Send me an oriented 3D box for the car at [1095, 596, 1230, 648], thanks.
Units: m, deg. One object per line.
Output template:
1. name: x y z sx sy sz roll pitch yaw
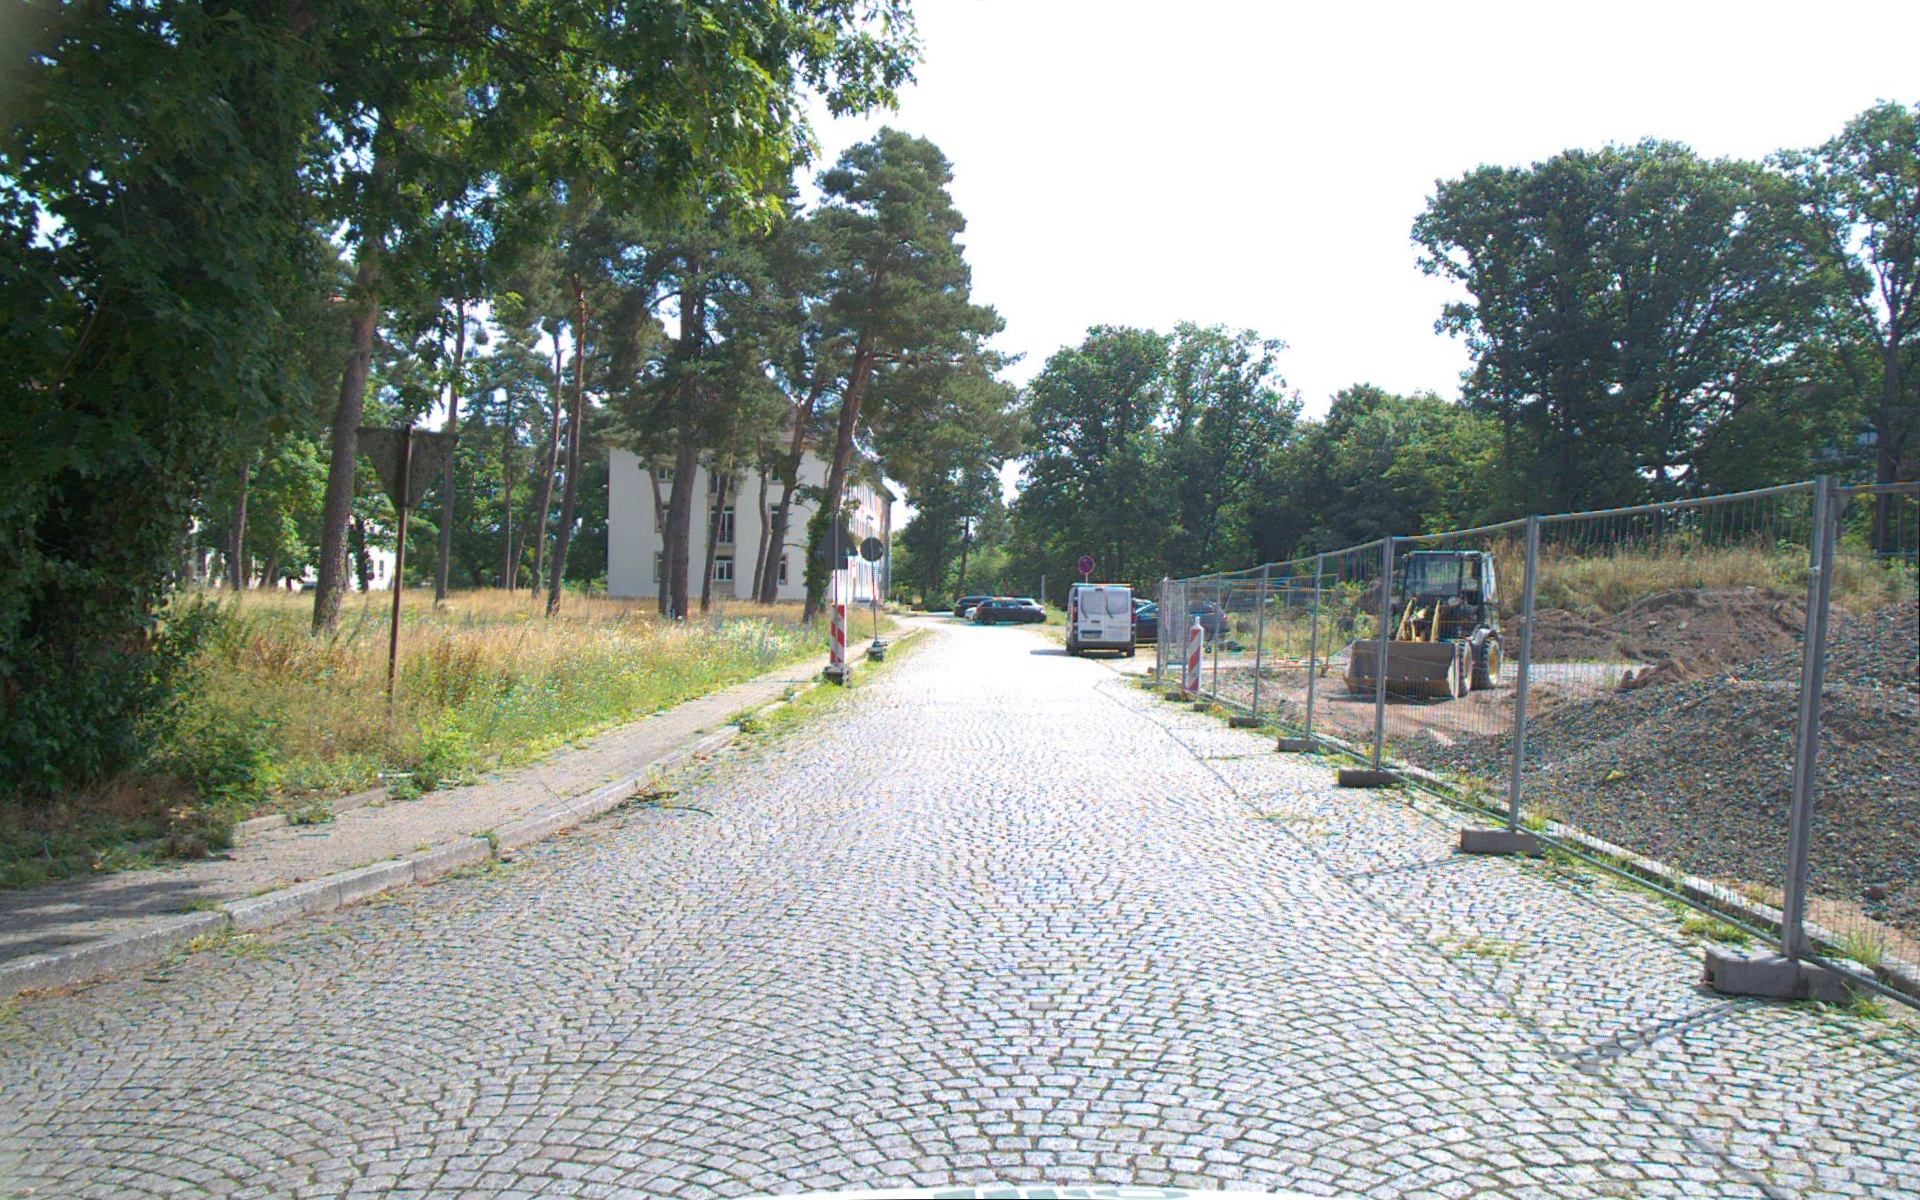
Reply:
1. car: 6.728 0.708 54.792 4.309 1.537 2.002 2 0 8

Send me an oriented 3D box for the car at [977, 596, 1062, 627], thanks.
1. car: 3.390 0.657 95.513 4.687 1.669 1.998 1 0 -5

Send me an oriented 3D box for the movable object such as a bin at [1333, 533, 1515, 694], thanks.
1. movable object such as a bin: 8.433 0.206 29.762 2.088 2.638 4.783 1 0 29

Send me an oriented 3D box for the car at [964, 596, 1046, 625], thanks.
1. car: 2.684 0.623 98.828 4.687 1.669 1.998 1 0 -5

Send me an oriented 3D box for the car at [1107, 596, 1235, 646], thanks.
1. car: 7.383 0.718 57.861 4.309 1.537 2.002 2 0 8

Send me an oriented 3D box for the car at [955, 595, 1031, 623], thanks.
1. car: 2.078 0.565 105.303 4.687 1.669 1.998 1 0 -5

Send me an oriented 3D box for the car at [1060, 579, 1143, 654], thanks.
1. car: 4.042 0.455 47.950 1.953 2.049 4.090 1 0 -1
